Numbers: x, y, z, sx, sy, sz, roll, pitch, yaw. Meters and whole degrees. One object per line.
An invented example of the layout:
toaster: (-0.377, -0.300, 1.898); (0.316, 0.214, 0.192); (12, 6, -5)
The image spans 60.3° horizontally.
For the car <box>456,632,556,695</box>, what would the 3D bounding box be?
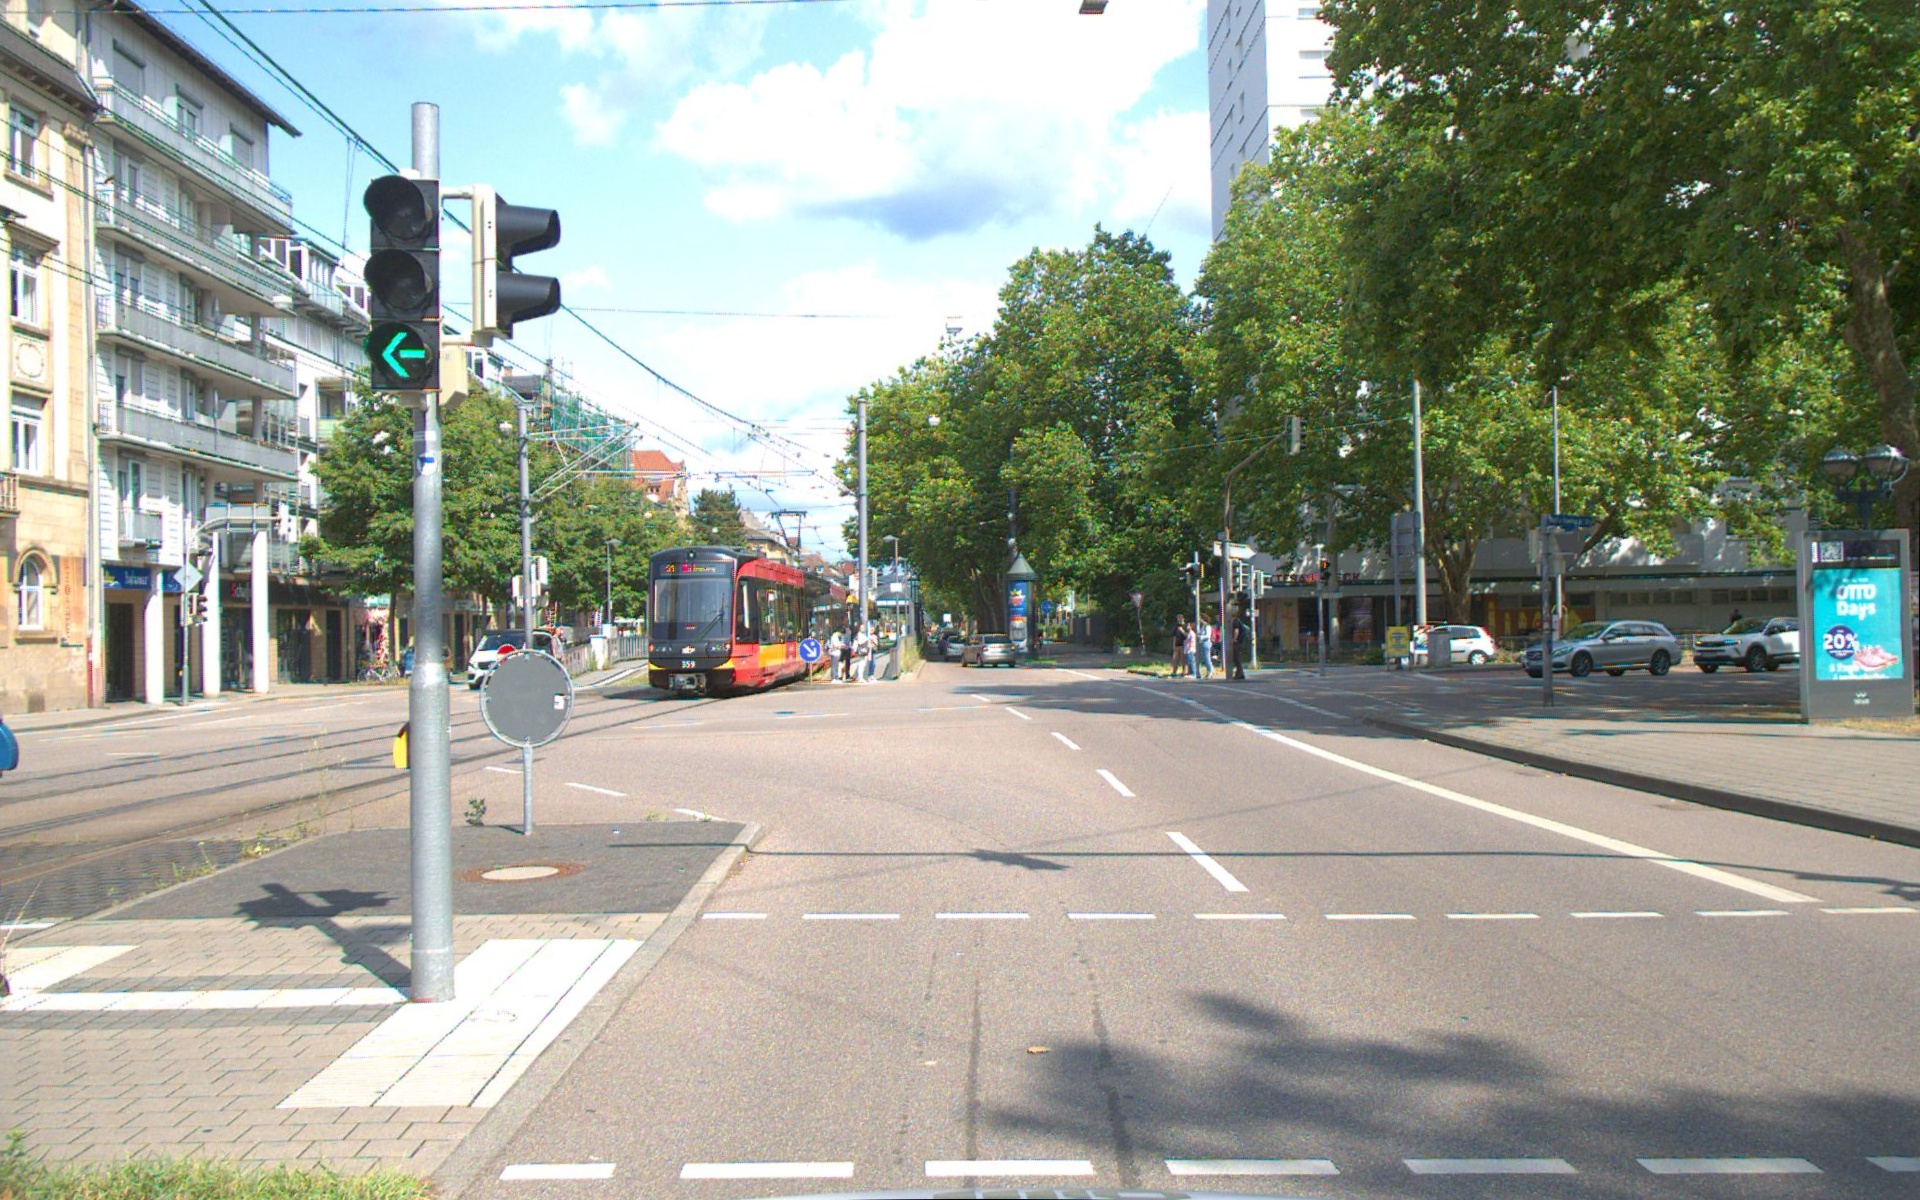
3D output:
car: (-15.125, 2.077, 55.396); (1.953, 1.925, 5.171); (-1, -1, 0)

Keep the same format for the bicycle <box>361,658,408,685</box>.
bicycle: (-22.541, 2.807, 64.804); (1.655, 1.003, 0.497); (-1, -1, -4)

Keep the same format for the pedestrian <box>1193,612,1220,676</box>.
pedestrian: (6.933, 1.244, 46.564); (0.520, 1.766, 0.553); (-1, -1, -22)

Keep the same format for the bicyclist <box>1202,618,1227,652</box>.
bicyclist: (9.653, 1.333, 62.738); (0.795, 1.273, 0.482); (0, -2, 27)

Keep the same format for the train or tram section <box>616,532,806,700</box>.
train or tram section: (-6.010, 0.433, 42.114); (2.738, 3.623, 11.378); (-2, -1, 2)

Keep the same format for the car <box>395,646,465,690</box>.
car: (-23.105, 2.943, 72.275); (1.809, 1.821, 3.998); (1, -1, -2)

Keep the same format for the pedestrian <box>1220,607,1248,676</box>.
pedestrian: (7.442, 1.116, 44.897); (0.473, 1.857, 0.553); (-2, -2, 41)

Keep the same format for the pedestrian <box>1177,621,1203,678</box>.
pedestrian: (6.652, 1.433, 47.856); (0.503, 1.625, 0.553); (-1, -1, -22)

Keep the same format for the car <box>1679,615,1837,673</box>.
car: (22.583, 1.241, 46.812); (4.007, 1.516, 1.848); (-1, -1, -23)

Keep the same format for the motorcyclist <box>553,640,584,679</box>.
motorcyclist: (-14.693, 2.217, 62.066); (0.875, 1.428, 1.088); (-1, -1, 0)

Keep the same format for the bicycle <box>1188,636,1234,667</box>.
bicycle: (9.531, 1.951, 62.770); (1.644, 1.108, 0.482); (0, -1, 27)

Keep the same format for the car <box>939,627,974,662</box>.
car: (-0.222, 2.612, 98.121); (1.953, 2.049, 3.998); (0, -1, -2)

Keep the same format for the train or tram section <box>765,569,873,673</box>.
train or tram section: (-5.343, 0.852, 65.051); (2.748, 3.623, 12.158); (-2, -1, 2)

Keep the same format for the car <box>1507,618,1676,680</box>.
car: (16.833, 1.295, 44.122); (3.925, 1.516, 1.851); (-1, -1, -18)

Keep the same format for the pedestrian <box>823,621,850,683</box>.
pedestrian: (-3.486, 1.465, 46.830); (0.655, 1.733, 0.648); (-1, -1, 2)

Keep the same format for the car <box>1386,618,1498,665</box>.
car: (16.758, 1.444, 57.651); (3.582, 1.510, 1.737); (-2, -1, 12)

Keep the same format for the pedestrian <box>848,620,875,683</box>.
pedestrian: (-2.774, 1.451, 46.757); (0.655, 1.733, 0.648); (-1, -1, 2)

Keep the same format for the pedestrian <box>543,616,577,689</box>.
pedestrian: (-11.472, 1.505, 47.476); (0.722, 2.049, 0.704); (-1, -1, 5)

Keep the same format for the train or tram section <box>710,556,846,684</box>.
train or tram section: (-5.652, 0.664, 53.409); (2.748, 3.623, 11.183); (-2, -1, 2)

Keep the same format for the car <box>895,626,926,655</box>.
car: (-3.330, 2.725, 111.860); (1.777, 1.836, 4.001); (-2, -1, 2)

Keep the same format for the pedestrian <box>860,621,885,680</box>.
pedestrian: (-2.588, 1.484, 48.841); (0.655, 1.733, 0.648); (-1, -1, 2)

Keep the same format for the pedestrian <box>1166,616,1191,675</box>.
pedestrian: (6.396, 1.328, 48.415); (0.503, 1.700, 0.553); (-1, -1, -22)

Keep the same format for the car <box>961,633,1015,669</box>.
car: (1.210, 2.238, 72.953); (1.717, 1.478, 3.596); (-1, -1, -10)
